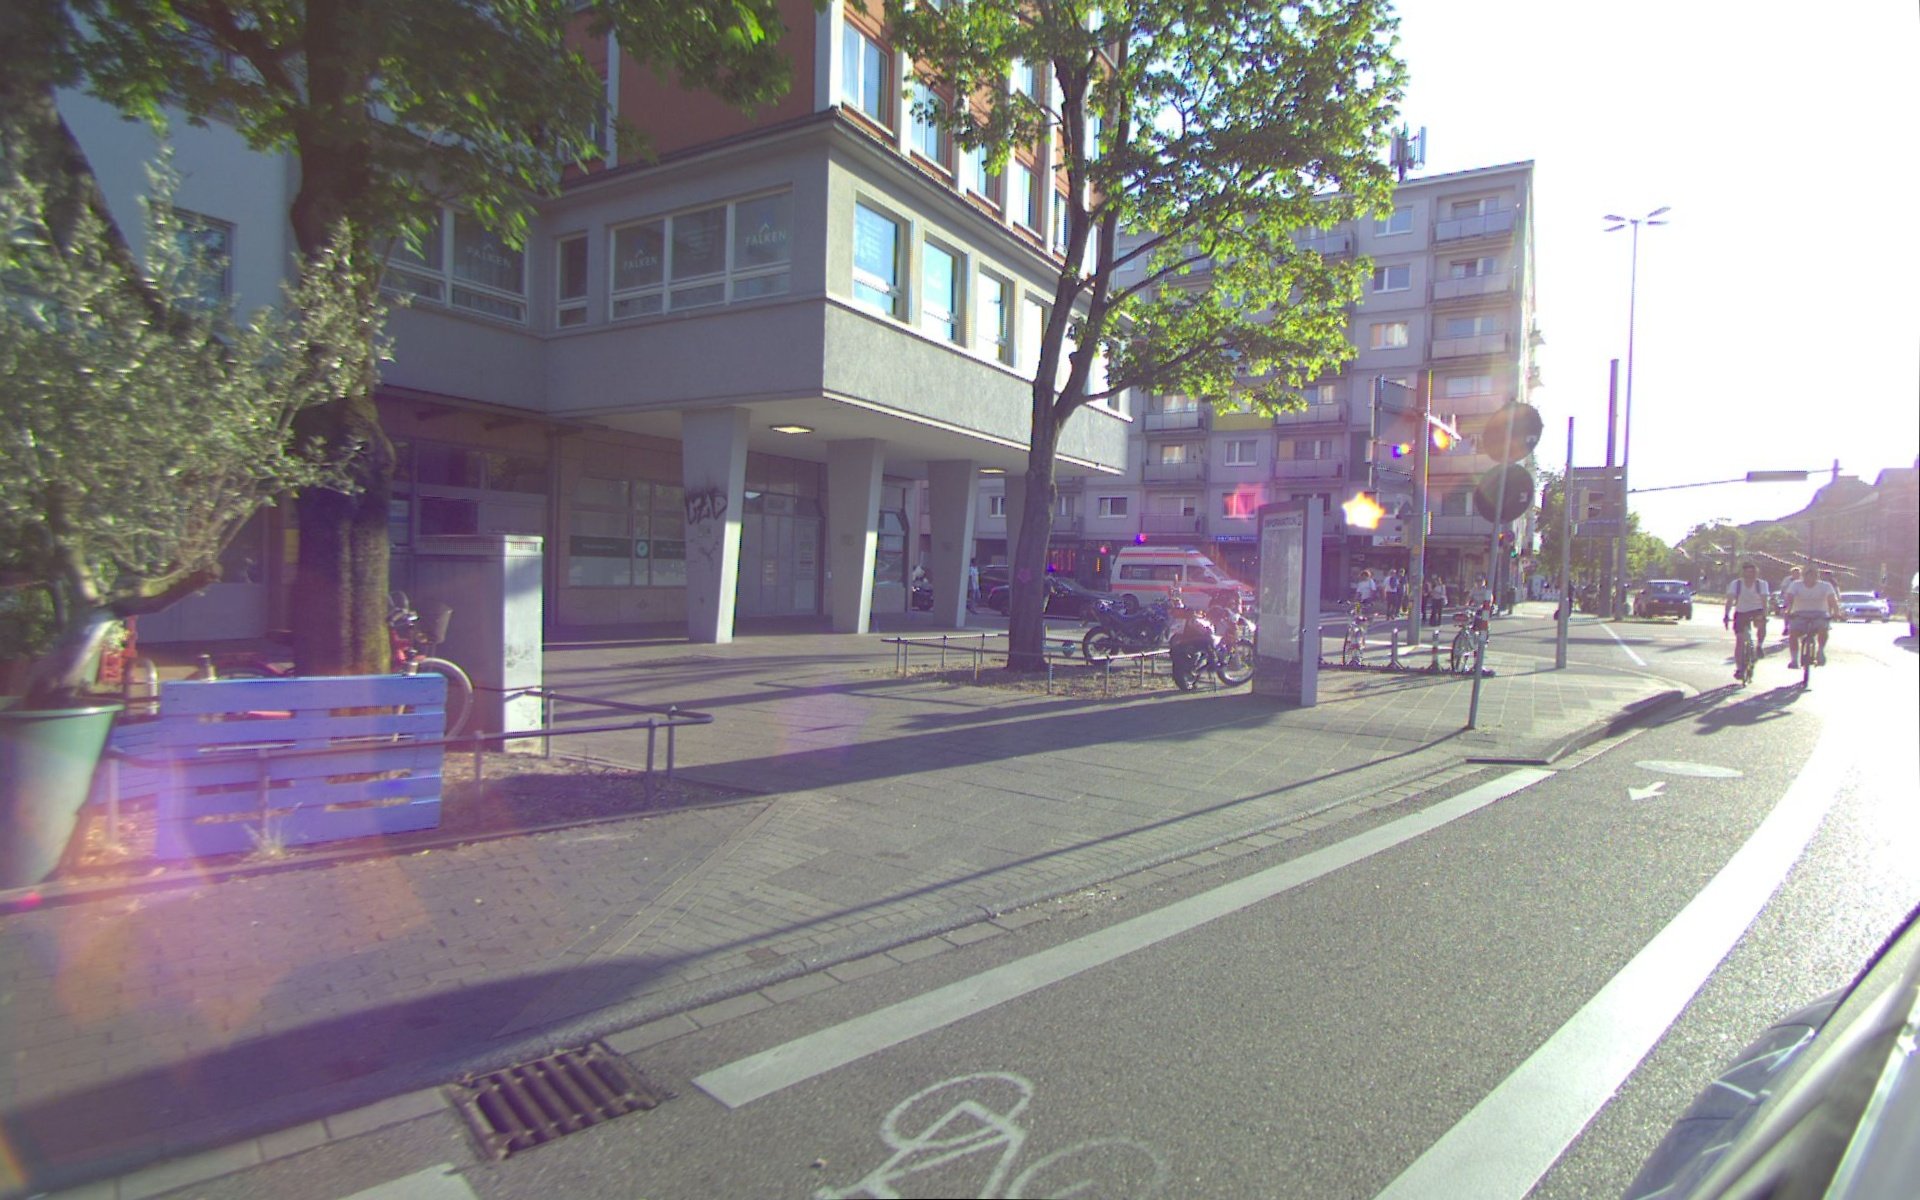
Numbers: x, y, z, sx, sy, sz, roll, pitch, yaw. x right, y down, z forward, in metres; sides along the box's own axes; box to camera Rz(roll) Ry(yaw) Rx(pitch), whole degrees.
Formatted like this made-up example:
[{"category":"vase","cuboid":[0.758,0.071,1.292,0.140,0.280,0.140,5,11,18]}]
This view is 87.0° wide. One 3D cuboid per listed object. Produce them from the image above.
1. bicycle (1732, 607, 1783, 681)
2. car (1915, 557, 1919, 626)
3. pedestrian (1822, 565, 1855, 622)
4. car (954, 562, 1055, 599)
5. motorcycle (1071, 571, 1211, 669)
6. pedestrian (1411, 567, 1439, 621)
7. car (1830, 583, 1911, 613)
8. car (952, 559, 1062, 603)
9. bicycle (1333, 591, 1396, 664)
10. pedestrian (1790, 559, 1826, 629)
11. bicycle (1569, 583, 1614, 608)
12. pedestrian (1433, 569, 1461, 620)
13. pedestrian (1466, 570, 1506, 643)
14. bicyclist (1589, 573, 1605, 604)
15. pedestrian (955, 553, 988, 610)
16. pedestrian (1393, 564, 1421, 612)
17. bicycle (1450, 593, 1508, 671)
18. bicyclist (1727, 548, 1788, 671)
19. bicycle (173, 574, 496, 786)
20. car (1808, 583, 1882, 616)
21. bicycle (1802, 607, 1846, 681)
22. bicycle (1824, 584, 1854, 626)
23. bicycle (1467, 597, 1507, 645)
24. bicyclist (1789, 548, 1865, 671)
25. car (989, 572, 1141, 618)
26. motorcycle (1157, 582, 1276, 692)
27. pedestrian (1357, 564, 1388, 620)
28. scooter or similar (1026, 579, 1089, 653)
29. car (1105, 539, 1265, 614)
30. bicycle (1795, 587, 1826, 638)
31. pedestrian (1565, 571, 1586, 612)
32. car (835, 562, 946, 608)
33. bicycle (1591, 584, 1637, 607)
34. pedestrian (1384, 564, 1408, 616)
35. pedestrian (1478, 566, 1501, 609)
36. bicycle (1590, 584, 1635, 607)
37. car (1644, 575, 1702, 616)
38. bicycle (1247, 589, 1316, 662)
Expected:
[{"category":"bicycle","cuboid":[12.406,0.650,15.729,0.574,1.041,1.830,1,1,40]},{"category":"car","cuboid":[27.811,-0.200,27.506,1.909,2.014,4.885,2,2,35]},{"category":"pedestrian","cuboid":[26.021,-0.202,29.976,0.676,1.669,0.889,1,1,38]},{"category":"car","cuboid":[1.871,-0.853,43.103,3.970,1.482,1.768,2,2,32]},{"category":"motorcycle","cuboid":[2.807,0.271,15.860,2.040,1.424,0.750,2,2,39]},{"category":"pedestrian","cuboid":[14.628,-0.195,31.851,0.679,1.682,0.738,2,1,32]},{"category":"car","cuboid":[44.785,-0.120,49.888,1.826,1.418,4.541,-1,1,27]},{"category":"car","cuboid":[1.828,-0.758,39.695,4.051,1.590,1.580,2,2,30]},{"category":"bicycle","cuboid":[6.783,0.436,16.931,0.642,1.141,1.852,2,1,32]},{"category":"pedestrian","cuboid":[20.756,-0.146,24.769,0.638,1.669,0.830,1,1,42]},{"category":"bicycle","cuboid":[32.756,-0.237,52.492,1.857,1.139,0.601,5,3,27]},{"category":"pedestrian","cuboid":[14.893,-0.177,30.945,0.679,1.518,0.738,2,1,32]},{"category":"pedestrian","cuboid":[12.055,0.131,23.188,0.674,1.609,0.751,2,3,37]},{"category":"bicyclist","cuboid":[37.380,-0.678,59.378,0.739,1.830,1.370,2,1,33]},{"category":"pedestrian","cuboid":[0.375,-0.594,32.526,0.814,1.778,0.632,2,1,33]},{"category":"pedestrian","cuboid":[16.385,-0.446,37.086,0.780,1.722,1.015,2,1,32]},{"category":"bicycle","cuboid":[8.237,0.483,16.028,0.642,1.141,1.852,2,1,32]},{"category":"bicyclist","cuboid":[12.344,0.120,15.665,0.673,1.830,0.979,2,2,40]},{"category":"bicycle","cuboid":[-3.898,0.442,6.469,0.418,1.172,1.735,2,1,32]},{"category":"car","cuboid":[48.329,-0.059,55.352,1.939,1.734,4.804,-1,1,28]},{"category":"bicycle","cuboid":[13.439,0.653,15.763,0.477,1.041,1.953,1,1,40]},{"category":"bicycle","cuboid":[26.007,0.130,29.956,0.527,1.173,1.825,1,1,37]},{"category":"bicycle","cuboid":[12.131,0.464,23.279,0.519,0.992,1.826,2,3,37]},{"category":"bicyclist","cuboid":[13.408,0.124,15.671,0.825,1.830,1.042,2,2,40]},{"category":"car","cuboid":[3.404,-0.203,33.242,4.642,1.357,1.819,2,2,33]},{"category":"motorcycle","cuboid":[3.285,0.417,12.818,0.664,1.258,2.172,2,2,36]},{"category":"pedestrian","cuboid":[12.654,-0.245,31.048,0.724,1.682,0.895,2,1,32]},{"category":"scooter or similar","cuboid":[1.756,0.275,18.178,1.162,1.270,0.416,0,1,-40]},{"category":"car","cuboid":[7.992,-0.896,36.123,5.225,2.513,1.905,2,1,31]},{"category":"bicycle","cuboid":[20.732,0.290,24.672,0.528,1.173,1.821,1,1,41]},{"category":"pedestrian","cuboid":[26.697,-0.377,43.890,0.660,1.725,1.058,2,1,35]},{"category":"car","cuboid":[-2.532,-0.573,36.672,3.747,1.528,1.736,2,2,33]},{"category":"bicycle","cuboid":[32.823,-0.218,50.833,1.857,1.074,0.601,2,2,29]},{"category":"pedestrian","cuboid":[14.694,-0.344,34.104,0.566,1.722,0.803,2,1,32]},{"category":"pedestrian","cuboid":[20.542,-0.492,39.244,0.679,1.609,0.737,2,1,35]},{"category":"bicycle","cuboid":[33.094,-0.229,51.370,1.857,1.074,0.601,2,2,29]},{"category":"car","cuboid":[36.323,-0.259,51.678,1.927,1.957,4.781,2,2,30]},{"category":"bicycle","cuboid":[5.635,0.417,17.654,0.642,1.172,2.100,2,1,32]}]
